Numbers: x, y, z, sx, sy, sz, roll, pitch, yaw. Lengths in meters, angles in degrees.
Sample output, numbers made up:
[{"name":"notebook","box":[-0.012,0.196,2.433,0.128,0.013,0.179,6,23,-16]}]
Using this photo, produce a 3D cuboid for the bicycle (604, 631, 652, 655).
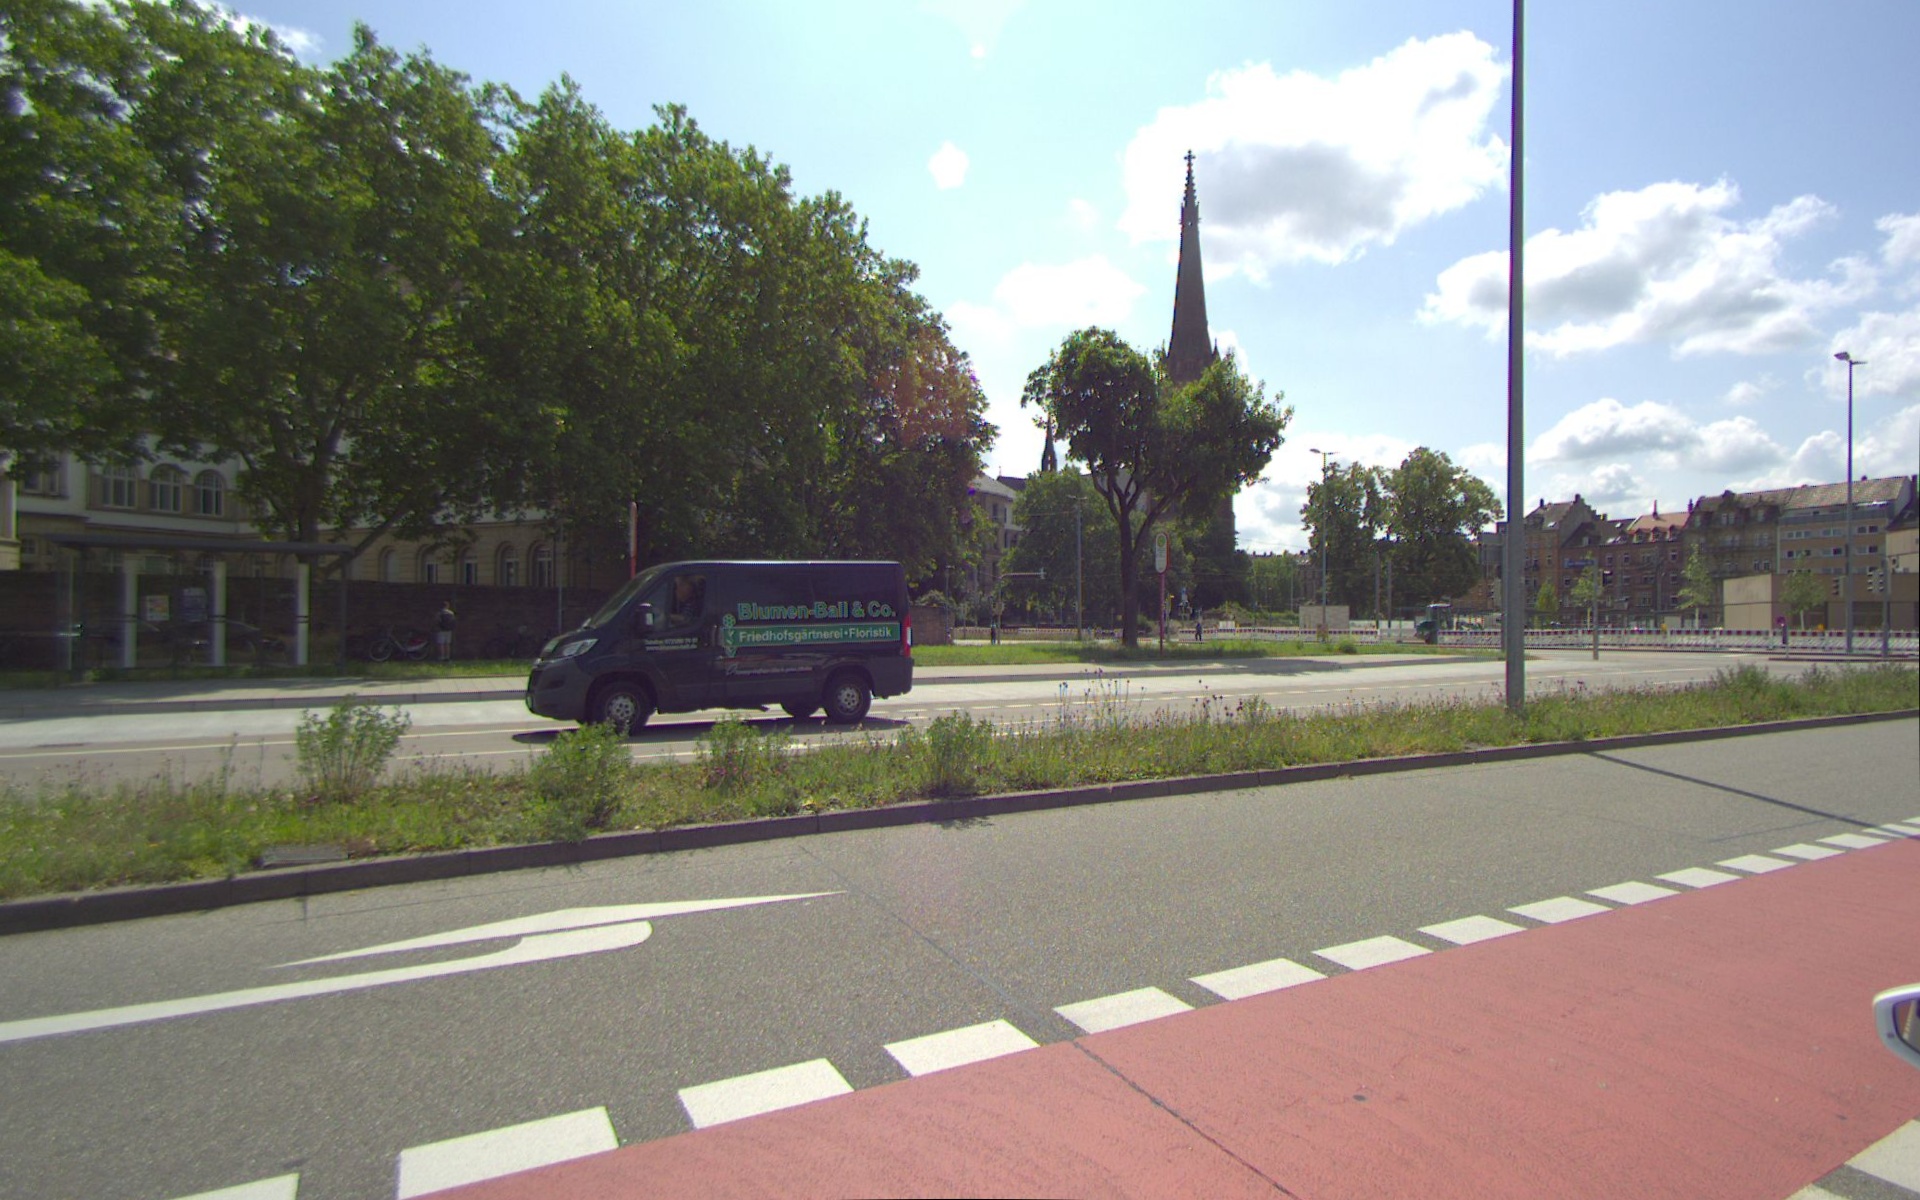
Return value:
[{"name":"bicycle","box":[-11.779,1.525,35.683,0.324,0.828,1.743,0,-1,36]}]

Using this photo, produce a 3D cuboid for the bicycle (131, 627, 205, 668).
[{"name":"bicycle","box":[-19.409,1.158,24.638,0.260,0.977,1.391,0,-1,36]}]

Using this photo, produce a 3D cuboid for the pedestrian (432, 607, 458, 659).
[{"name":"pedestrian","box":[-15.054,0.955,29.338,0.627,1.492,0.506,1,-1,-32]}]

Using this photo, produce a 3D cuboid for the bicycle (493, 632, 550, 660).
[{"name":"bicycle","box":[-14.023,1.463,32.175,0.378,0.828,1.743,0,-1,36]}]

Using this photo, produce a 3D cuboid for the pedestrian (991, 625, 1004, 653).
[{"name":"pedestrian","box":[2.800,2.879,74.704,0.713,2.040,0.721,1,-1,-32]}]

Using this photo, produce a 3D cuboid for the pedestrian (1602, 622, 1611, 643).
[{"name":"pedestrian","box":[54.159,2.724,84.176,0.409,1.674,0.425,2,0,4]}]

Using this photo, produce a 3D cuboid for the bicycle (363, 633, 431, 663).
[{"name":"bicycle","box":[-16.231,1.381,29.005,0.324,0.828,1.743,0,-1,36]}]

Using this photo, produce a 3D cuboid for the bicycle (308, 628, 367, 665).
[{"name":"bicycle","box":[-17.151,1.266,27.708,0.260,0.977,1.391,0,-1,36]}]

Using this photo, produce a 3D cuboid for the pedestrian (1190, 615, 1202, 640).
[{"name":"pedestrian","box":[19.026,2.197,81.044,0.625,2.040,0.643,1,-1,-32]}]

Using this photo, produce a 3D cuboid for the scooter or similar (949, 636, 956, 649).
[{"name":"scooter or similar","box":[-0.428,2.480,58.974,0.117,0.721,1.005,0,-1,17]}]

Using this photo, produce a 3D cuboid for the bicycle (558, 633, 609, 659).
[{"name":"bicycle","box":[-12.772,1.553,34.147,0.324,0.828,1.743,0,-1,36]}]

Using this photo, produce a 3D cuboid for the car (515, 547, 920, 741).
[{"name":"car","box":[-3.228,0.576,13.633,4.960,2.204,2.138,1,-3,-30]}]

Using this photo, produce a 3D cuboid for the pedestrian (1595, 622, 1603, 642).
[{"name":"pedestrian","box":[54.218,2.731,85.229,0.409,1.674,0.425,2,0,4]}]

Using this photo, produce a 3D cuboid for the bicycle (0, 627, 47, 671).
[{"name":"bicycle","box":[-21.249,1.091,22.317,0.260,0.977,1.391,0,-1,36]}]
